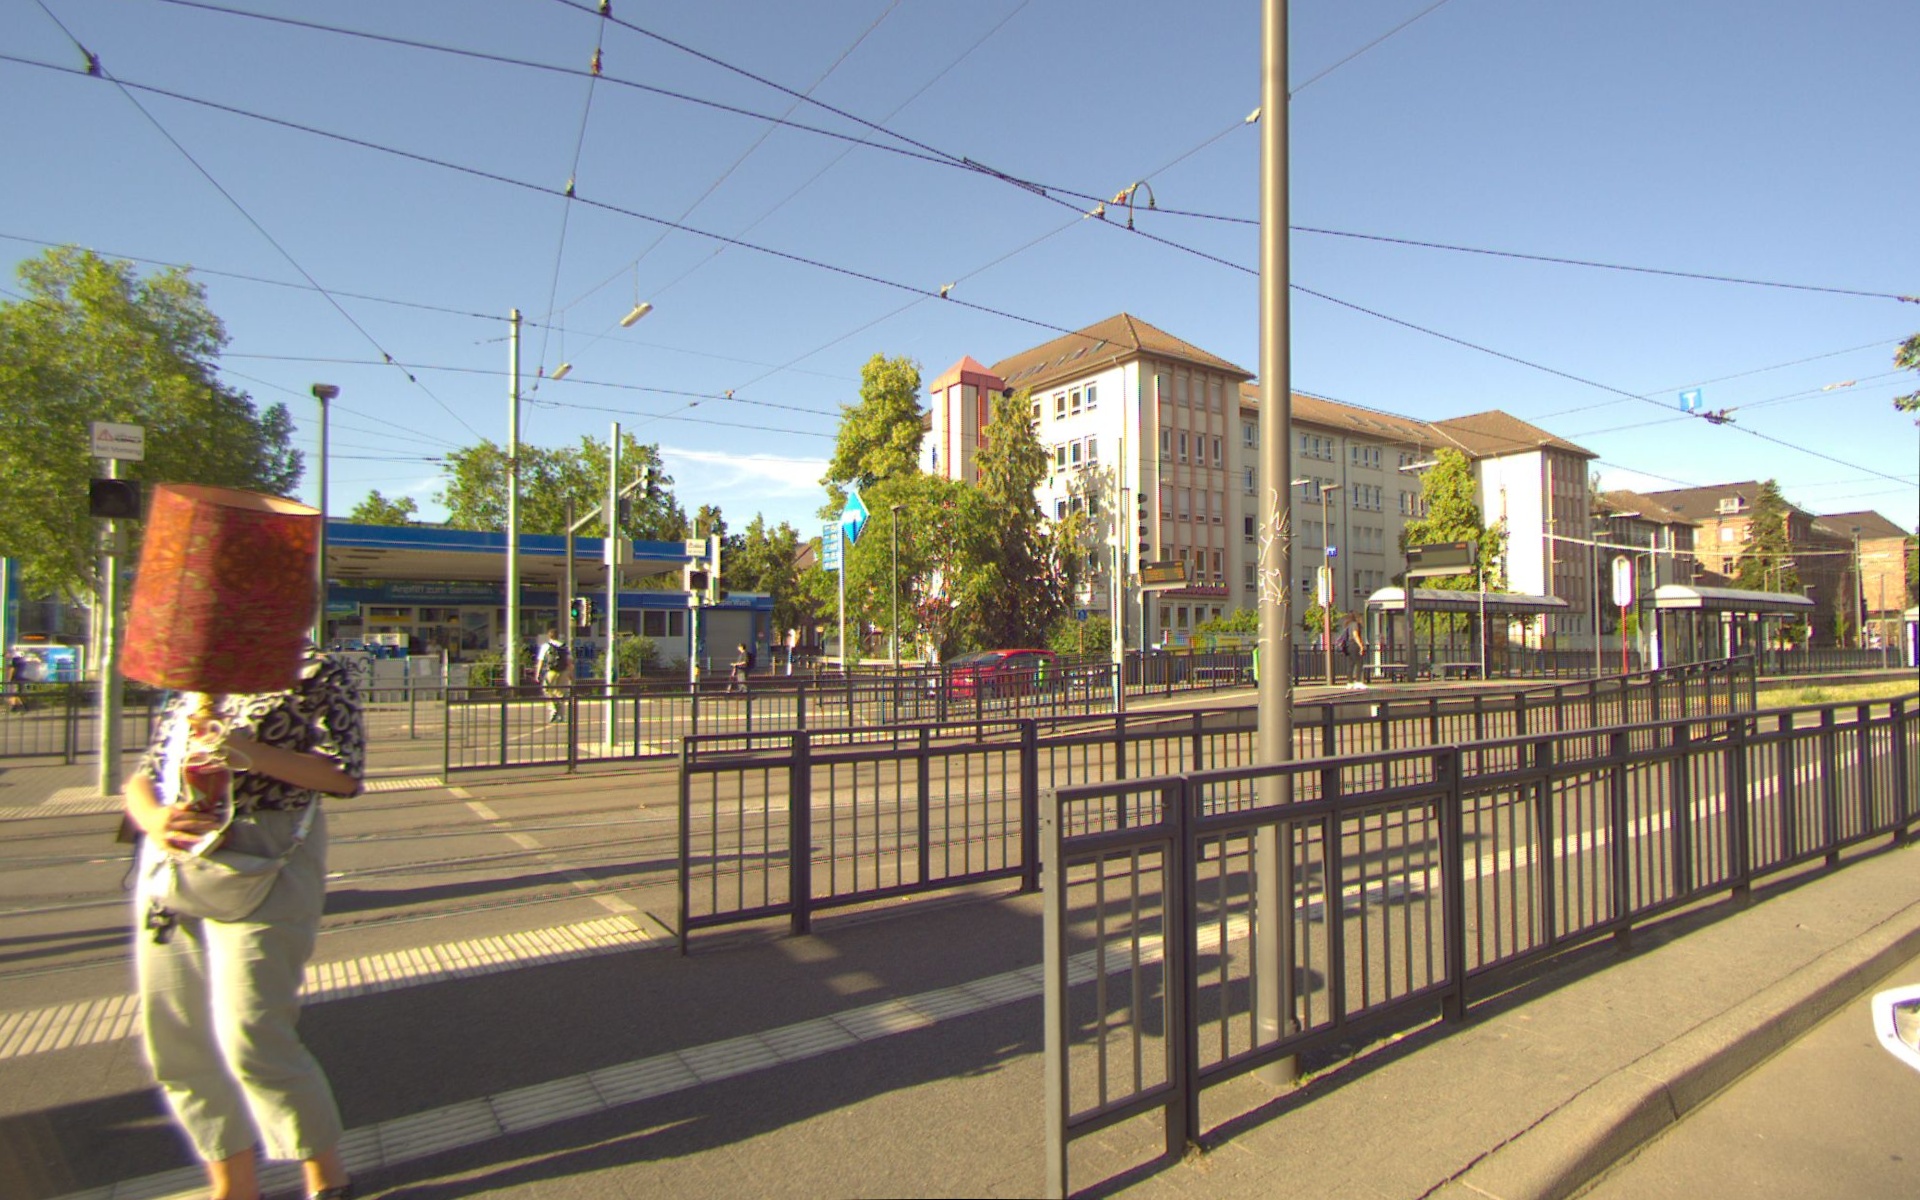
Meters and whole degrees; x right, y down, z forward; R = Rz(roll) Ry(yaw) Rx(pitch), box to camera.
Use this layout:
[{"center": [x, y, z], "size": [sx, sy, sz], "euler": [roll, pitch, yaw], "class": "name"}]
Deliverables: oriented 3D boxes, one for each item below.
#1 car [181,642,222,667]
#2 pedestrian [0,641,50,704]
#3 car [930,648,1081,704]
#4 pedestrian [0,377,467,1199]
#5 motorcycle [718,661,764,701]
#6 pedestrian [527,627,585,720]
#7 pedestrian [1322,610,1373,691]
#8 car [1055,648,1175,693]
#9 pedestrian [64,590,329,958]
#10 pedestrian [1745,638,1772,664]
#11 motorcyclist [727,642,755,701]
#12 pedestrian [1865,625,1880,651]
[{"center": [-50.944, 3.661, 67.523], "size": [1.892, 1.439, 4.239], "euler": [2, 0, -33], "class": "car"}, {"center": [-22.984, 1.770, 24.704], "size": [0.793, 1.503, 0.760], "euler": [2, -2, -37], "class": "pedestrian"}, {"center": [1.304, 2.073, 28.168], "size": [3.958, 1.438, 1.787], "euler": [2, -3, -34], "class": "car"}, {"center": [-1.590, 0.539, 2.276], "size": [0.767, 1.851, 0.632], "euler": [1, -2, -32], "class": "pedestrian"}, {"center": [-7.158, 2.646, 32.843], "size": [1.372, 1.261, 0.547], "euler": [1, -2, -32], "class": "motorcycle"}, {"center": [-7.655, 1.369, 19.026], "size": [0.821, 1.712, 0.645], "euler": [2, -3, -43], "class": "pedestrian"}, {"center": [7.966, 1.036, 20.646], "size": [0.728, 1.613, 0.680], "euler": [1, -2, -34], "class": "pedestrian"}, {"center": [5.393, 2.396, 34.802], "size": [3.958, 1.438, 1.787], "euler": [2, -3, -34], "class": "car"}, {"center": [-3.955, 0.836, 5.311], "size": [0.997, 1.712, 0.797], "euler": [1, -2, -32], "class": "pedestrian"}, {"center": [43.596, 2.796, 54.835], "size": [0.870, 1.394, 0.969], "euler": [1, -2, -35], "class": "pedestrian"}, {"center": [-7.156, 2.323, 32.854], "size": [0.737, 1.877, 0.548], "euler": [1, -2, -31], "class": "motorcyclist"}, {"center": [73.319, 3.038, 80.697], "size": [0.852, 2.040, 0.658], "euler": [1, -2, -35], "class": "pedestrian"}]
